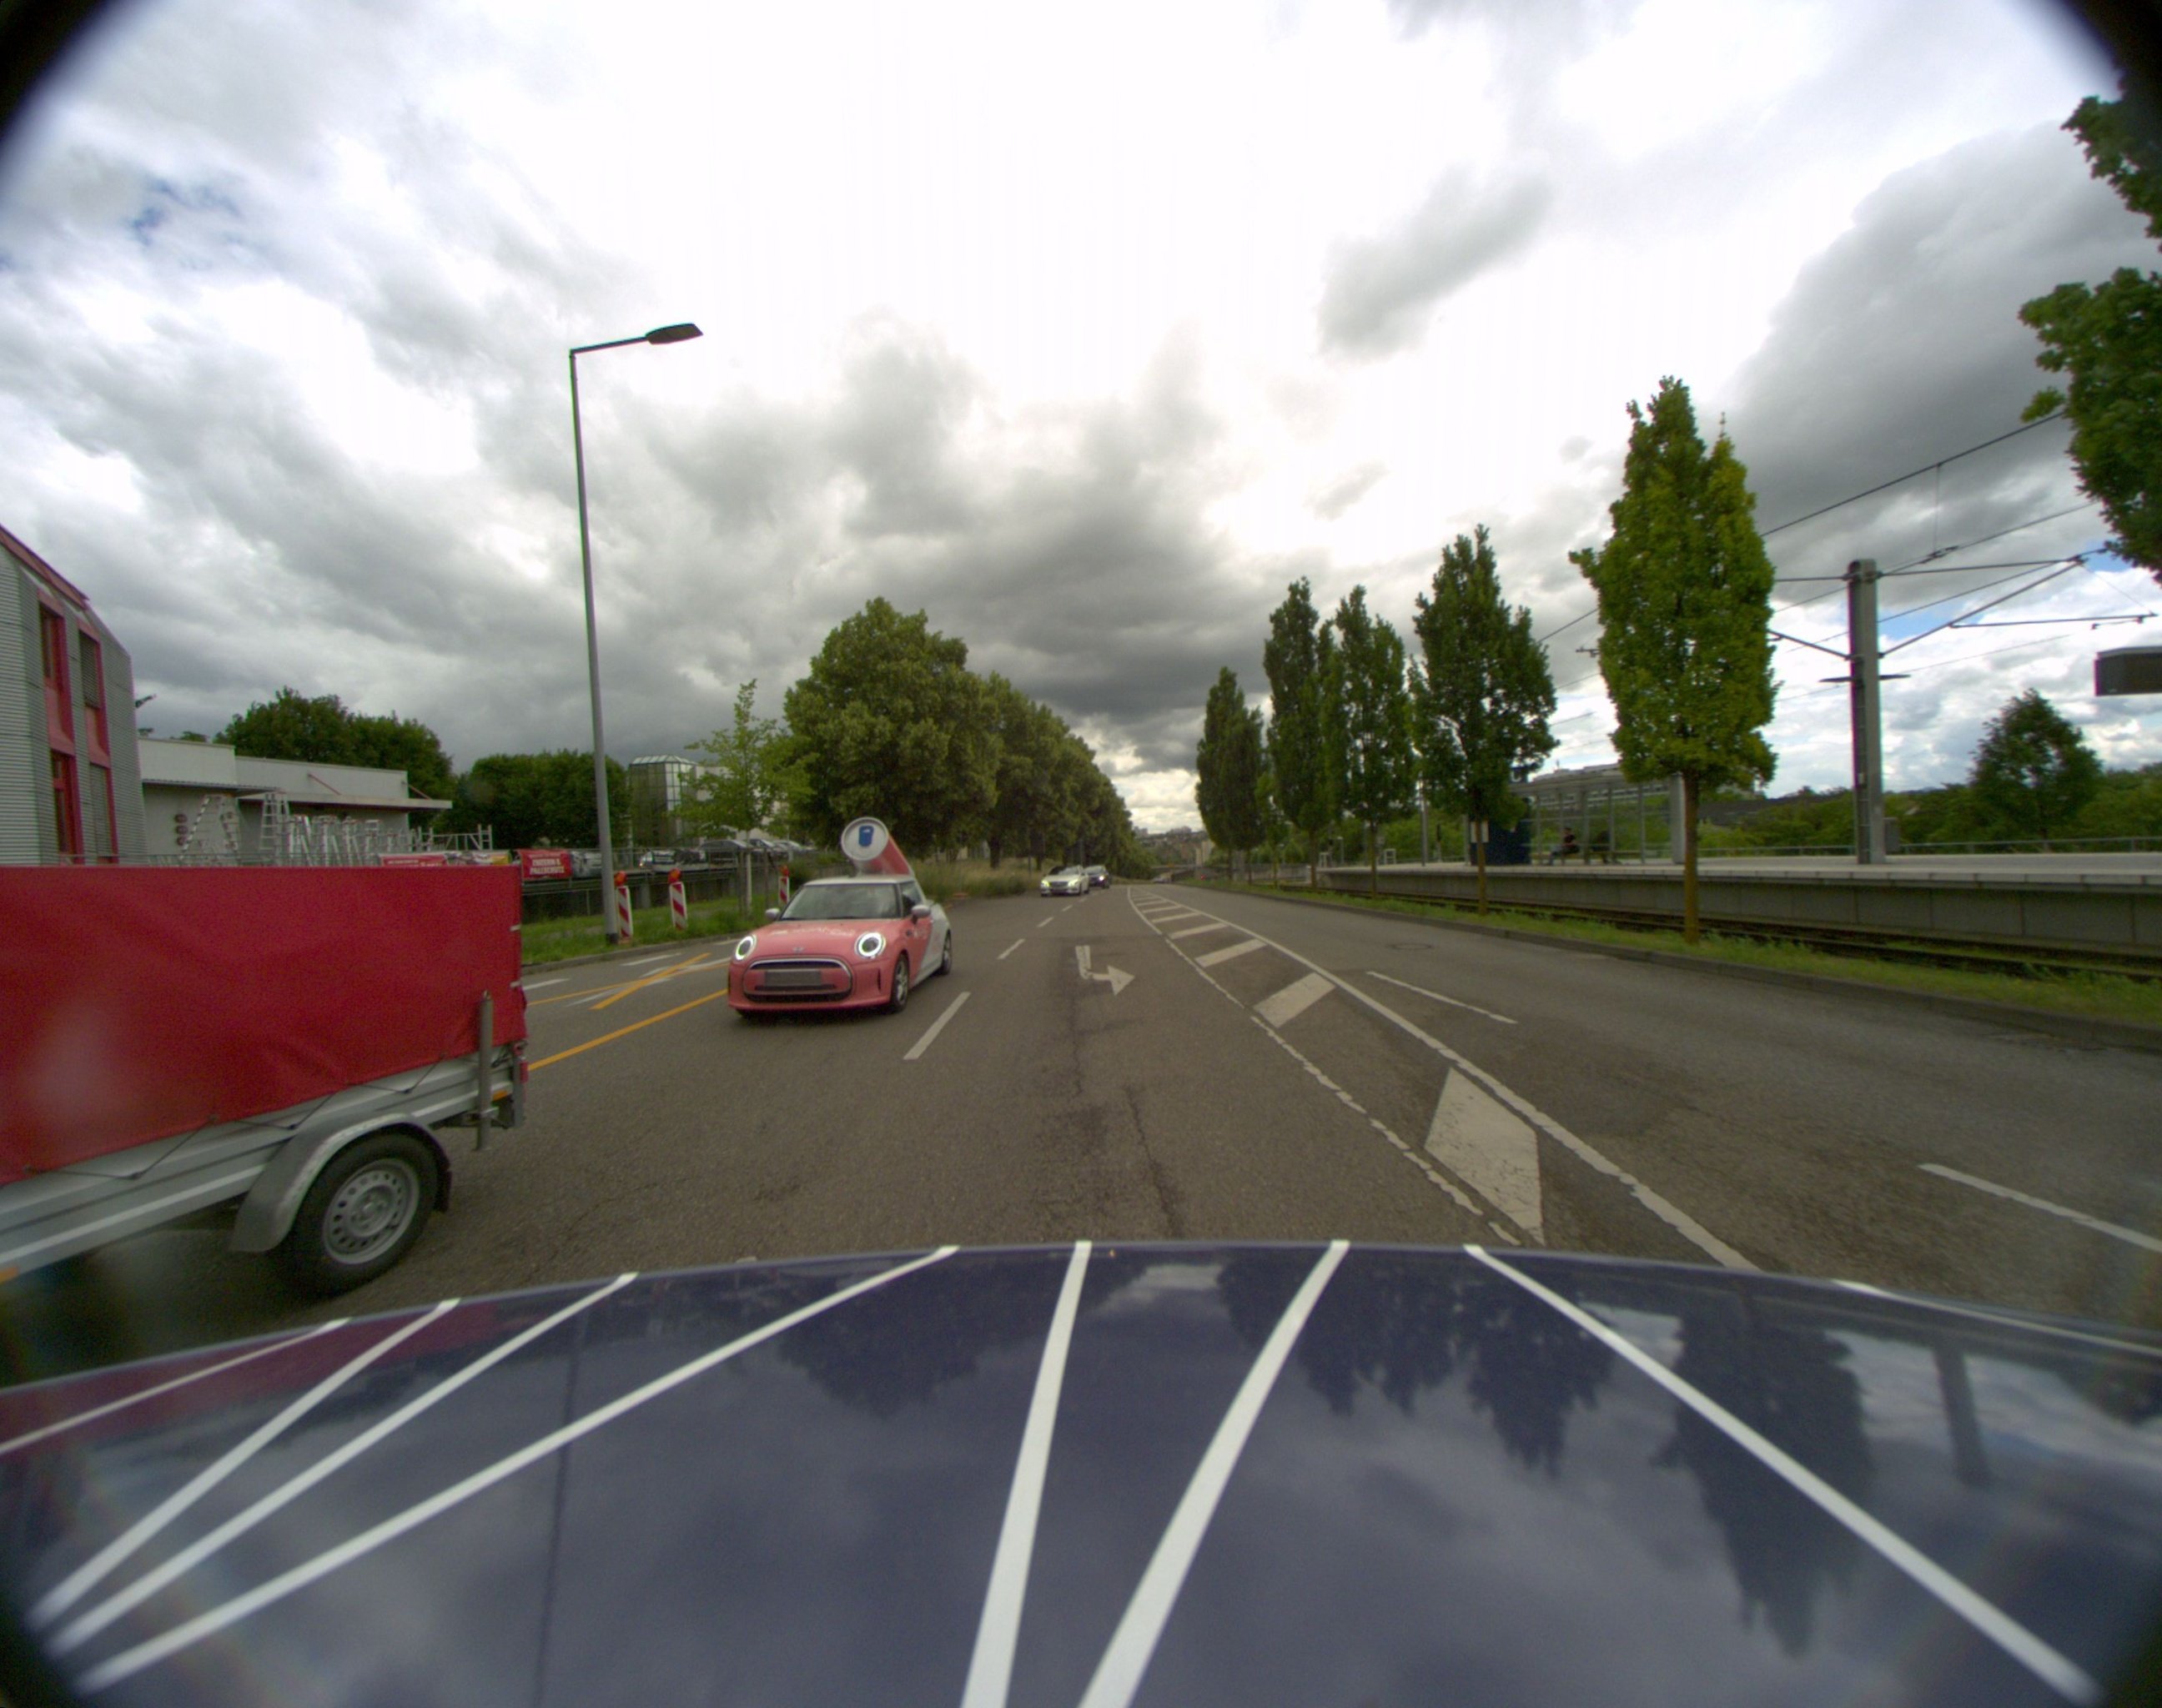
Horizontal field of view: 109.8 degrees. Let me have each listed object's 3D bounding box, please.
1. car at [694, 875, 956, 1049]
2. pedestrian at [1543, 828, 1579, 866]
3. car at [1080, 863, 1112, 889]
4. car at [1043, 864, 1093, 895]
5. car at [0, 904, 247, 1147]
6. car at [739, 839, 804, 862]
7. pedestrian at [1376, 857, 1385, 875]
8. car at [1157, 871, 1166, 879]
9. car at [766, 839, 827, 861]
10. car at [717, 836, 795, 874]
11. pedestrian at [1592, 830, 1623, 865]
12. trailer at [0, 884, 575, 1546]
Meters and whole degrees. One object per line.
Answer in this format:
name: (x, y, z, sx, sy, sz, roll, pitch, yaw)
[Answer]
car: (-2.690, 1.059, 8.927, 1.723, 1.449, 3.696, -2, 0, 1)
pedestrian: (15.763, -0.218, 24.963, 0.763, 1.192, 0.665, -2, 0, -1)
car: (0.982, 1.349, 48.237, 1.805, 1.439, 4.001, -2, 0, 4)
car: (-0.571, 1.209, 36.493, 1.738, 1.365, 4.004, -2, -1, 9)
car: (-7.775, 1.146, 3.958, 1.839, 1.424, 4.281, -2, 0, 8)
car: (-21.411, -0.229, 52.596, 3.762, 1.355, 1.757, -3, -1, 9)
pedestrian: (26.329, 1.062, 66.808, 0.508, 1.615, 0.646, -2, -1, 5)
car: (16.233, 4.286, 152.766, 1.719, 1.512, 3.747, -1, -1, 5)
car: (-21.572, -0.298, 57.643, 3.933, 1.474, 1.756, -2, 0, 9)
car: (-18.700, 0.104, 43.841, 3.762, 1.947, 1.644, -3, -1, 9)
pedestrian: (16.612, -0.195, 23.982, 0.608, 1.072, 0.470, -2, -1, -1)
trailer: (-3.420, 0.965, 2.270, 1.412, 1.584, 3.304, -2, 0, 4)
